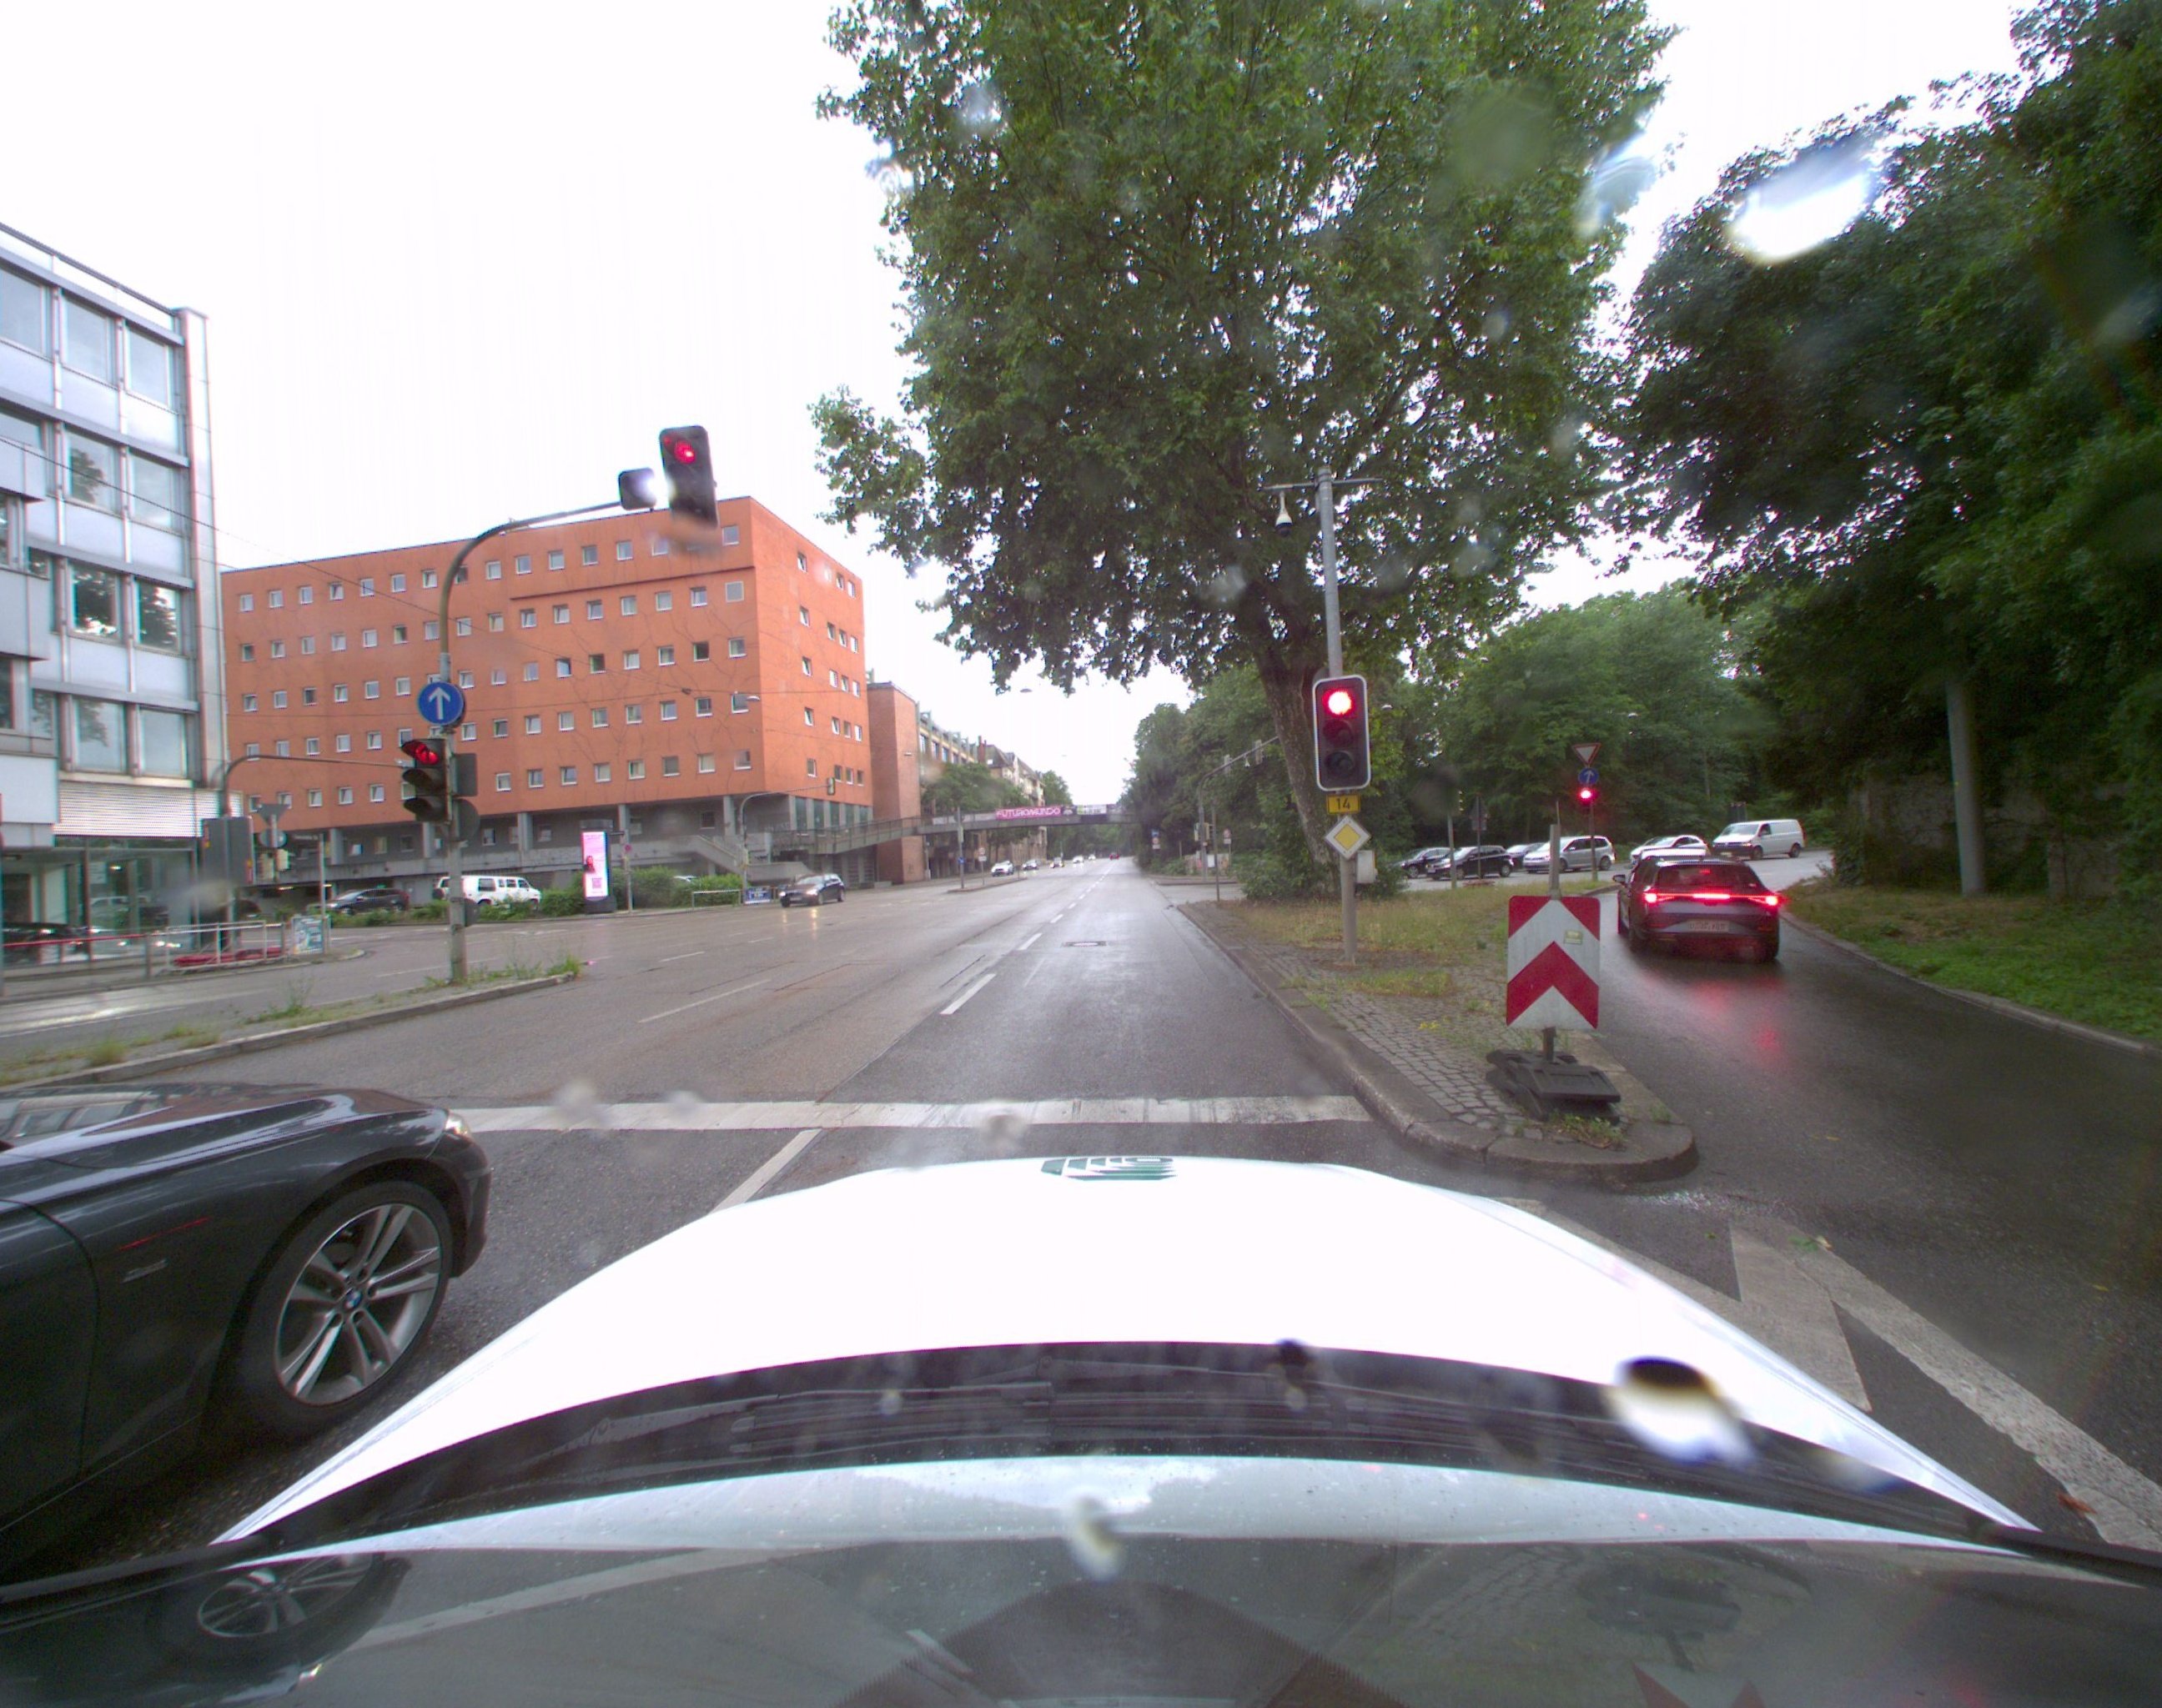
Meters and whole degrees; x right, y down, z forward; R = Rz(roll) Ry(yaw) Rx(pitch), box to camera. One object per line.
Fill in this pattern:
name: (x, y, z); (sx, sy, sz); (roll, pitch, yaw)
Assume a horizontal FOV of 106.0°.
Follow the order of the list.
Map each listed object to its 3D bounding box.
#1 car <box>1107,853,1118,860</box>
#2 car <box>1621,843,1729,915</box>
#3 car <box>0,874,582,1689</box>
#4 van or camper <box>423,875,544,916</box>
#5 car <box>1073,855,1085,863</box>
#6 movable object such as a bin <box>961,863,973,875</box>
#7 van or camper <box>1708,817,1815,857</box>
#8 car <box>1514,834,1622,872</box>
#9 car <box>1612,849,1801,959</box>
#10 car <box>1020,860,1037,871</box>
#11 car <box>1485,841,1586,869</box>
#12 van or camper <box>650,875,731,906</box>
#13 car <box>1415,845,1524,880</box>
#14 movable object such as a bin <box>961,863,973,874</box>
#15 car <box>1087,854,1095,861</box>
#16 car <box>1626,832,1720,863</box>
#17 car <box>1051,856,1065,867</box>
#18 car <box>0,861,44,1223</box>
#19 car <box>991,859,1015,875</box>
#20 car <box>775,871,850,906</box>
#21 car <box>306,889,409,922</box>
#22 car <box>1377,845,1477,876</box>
car: (7.019, 0.556, 181.089); (1.995, 1.643, 4.382); (-3, 0, 5)
car: (14.121, 0.495, 19.428); (1.834, 1.448, 4.648); (2, 2, 36)
car: (-2.923, 0.840, 0.891); (1.769, 1.458, 4.480); (-3, -1, 3)
van or camper: (-32.822, 2.224, 45.004); (2.113, 1.977, 5.466); (0, -1, 9)
car: (-0.409, 0.891, 155.902); (1.823, 1.393, 4.409); (-4, -1, 3)
movable object such as a bin: (-15.109, 1.939, 107.676); (1.277, 1.518, 1.274); (-3, 0, 3)
van or camper: (34.749, -0.866, 41.593); (4.862, 1.947, 1.895); (-1, -1, -18)
car: (22.584, -0.037, 37.820); (4.203, 1.680, 1.898); (0, -1, -14)
car: (9.630, 0.631, 12.893); (1.732, 1.403, 4.441); (1, 1, 29)
car: (-7.236, 1.553, 113.476); (1.701, 1.464, 4.047); (-3, -1, 5)
car: (22.950, 0.044, 41.149); (4.438, 1.402, 1.821); (0, -1, -14)
van or camper: (-23.993, 2.217, 50.108); (3.965, 1.627, 1.918); (-3, 0, 8)
car: (17.163, 0.372, 36.030); (4.192, 1.460, 1.784); (0, -1, -14)
movable object such as a bin: (-15.209, 1.938, 109.041); (1.293, 1.518, 1.215); (-3, 0, 3)
car: (2.544, 0.852, 202.706); (1.594, 1.499, 3.715); (-4, -1, 3)
car: (28.846, -0.289, 39.719); (3.857, 1.461, 1.650); (0, -1, -14)
car: (-3.410, 1.142, 120.875); (1.676, 1.436, 3.865); (-3, -1, 3)
car: (-6.000, 0.850, 1.700); (1.801, 1.656, 4.449); (0, -1, 4)
car: (-8.582, 1.431, 89.968); (1.881, 1.610, 4.461); (-3, -1, 4)
car: (-12.333, 1.549, 37.685); (1.678, 1.419, 4.220); (-4, -1, 4)
car: (-40.245, 2.819, 45.412); (1.699, 1.612, 4.097); (0, -1, 9)
car: (16.901, 0.321, 39.820); (4.205, 1.440, 1.941); (0, -1, -14)
